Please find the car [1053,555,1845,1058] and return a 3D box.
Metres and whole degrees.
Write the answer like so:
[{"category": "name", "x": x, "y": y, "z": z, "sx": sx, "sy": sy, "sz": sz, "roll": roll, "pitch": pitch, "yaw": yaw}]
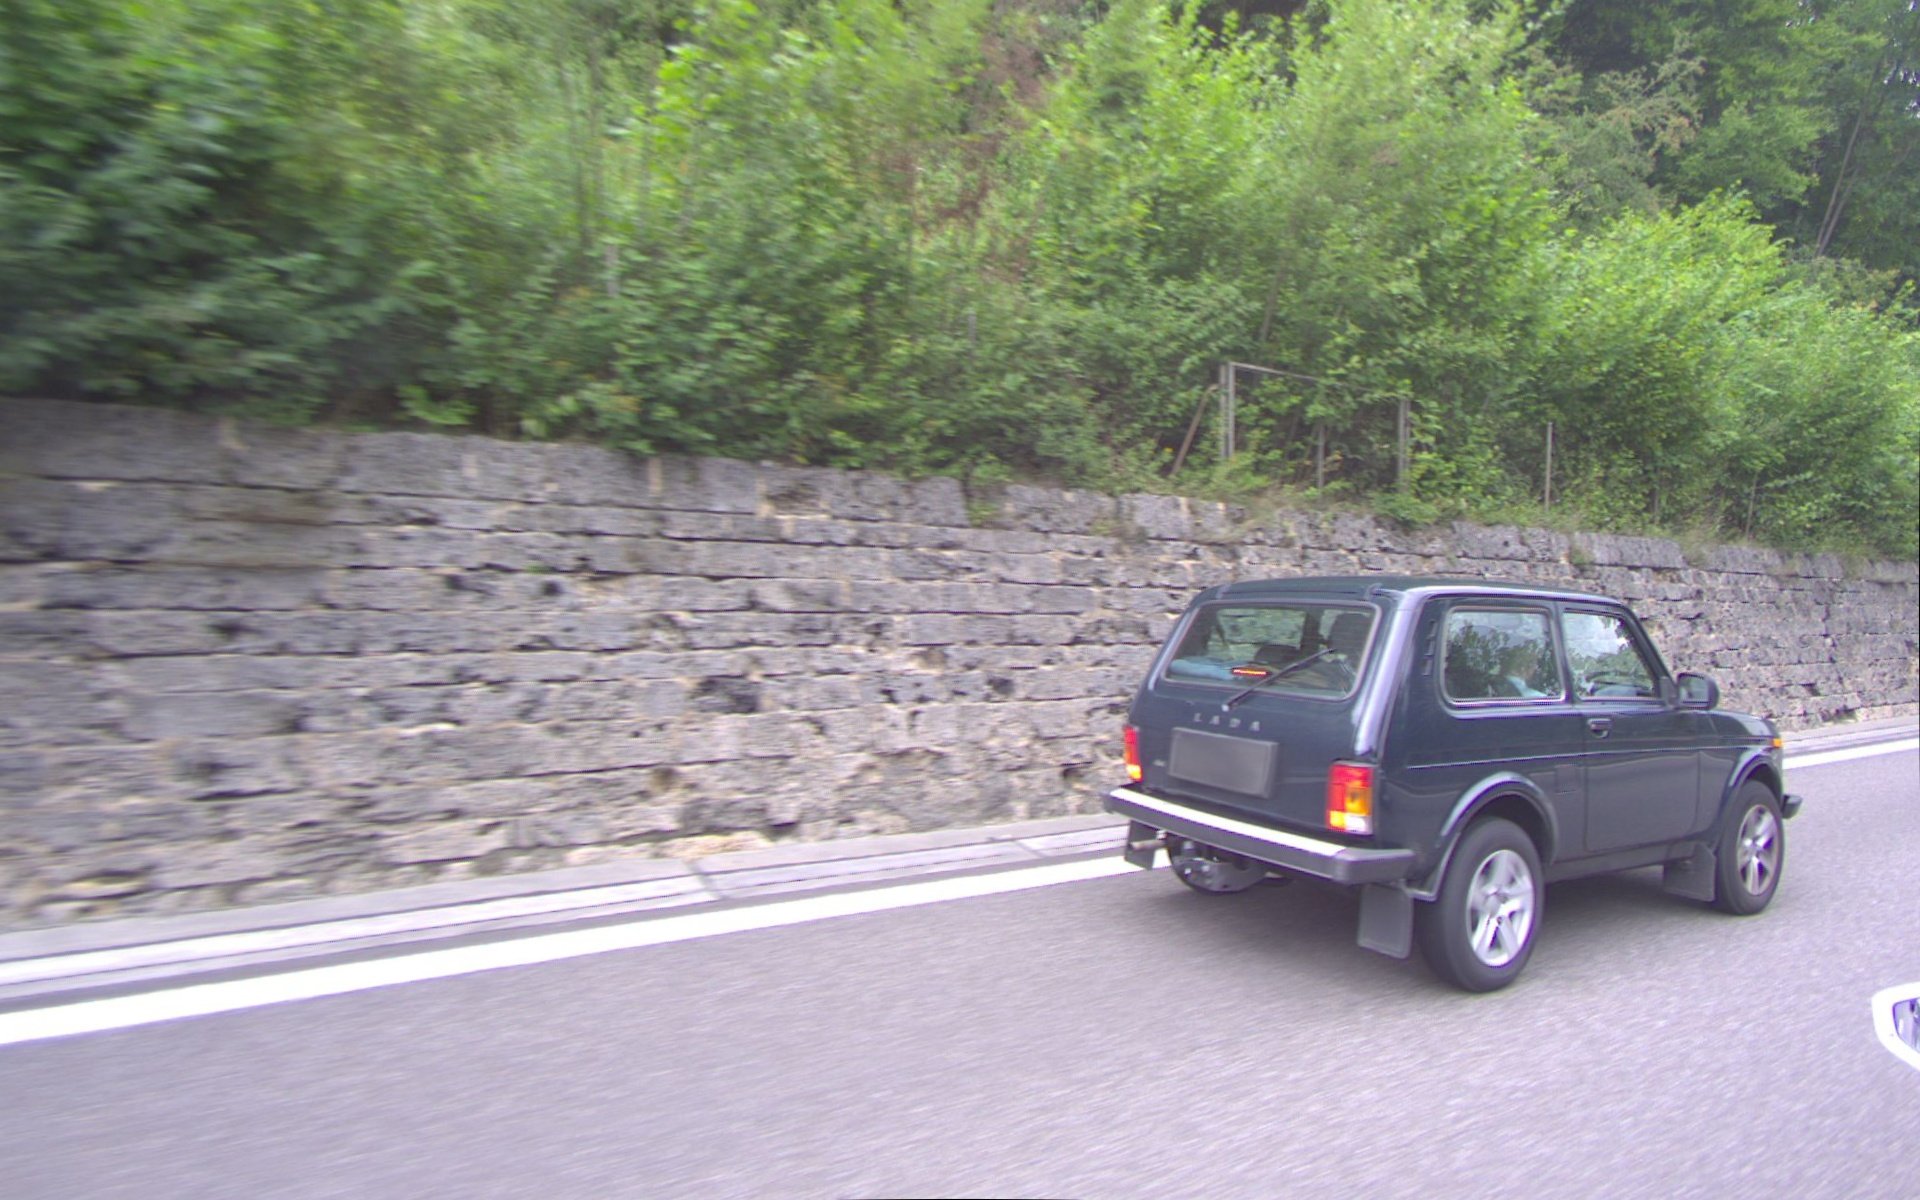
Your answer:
[{"category": "car", "x": 2.590, "y": 0.713, "z": 5.070, "sx": 4.021, "sy": 1.660, "sz": 1.661, "roll": 1, "pitch": 0, "yaw": -31}]
